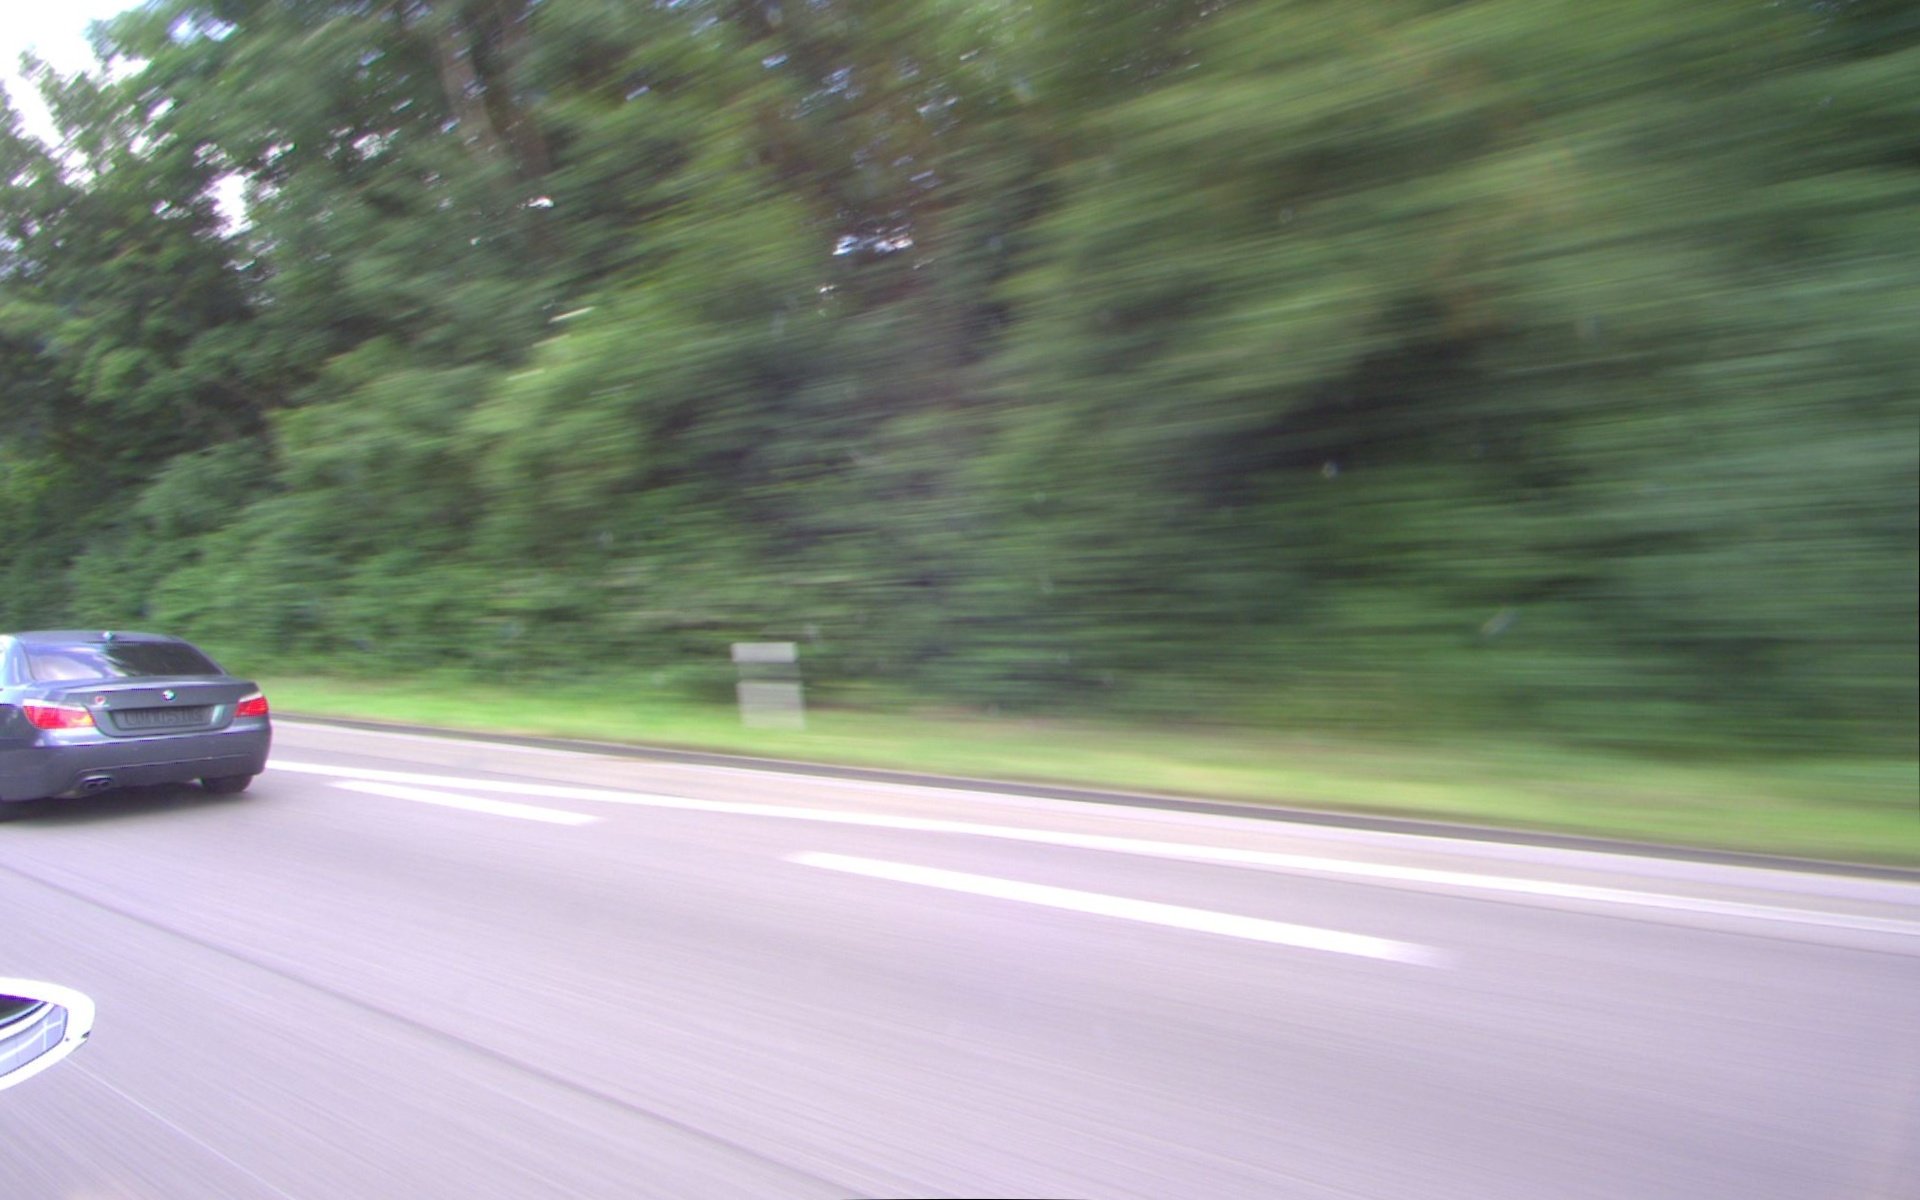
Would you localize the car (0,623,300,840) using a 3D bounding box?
[{"bbox_3d":[-8.090,0.964,9.021,4.810,1.494,1.771,-1,-1,32],"label":"car"}]
